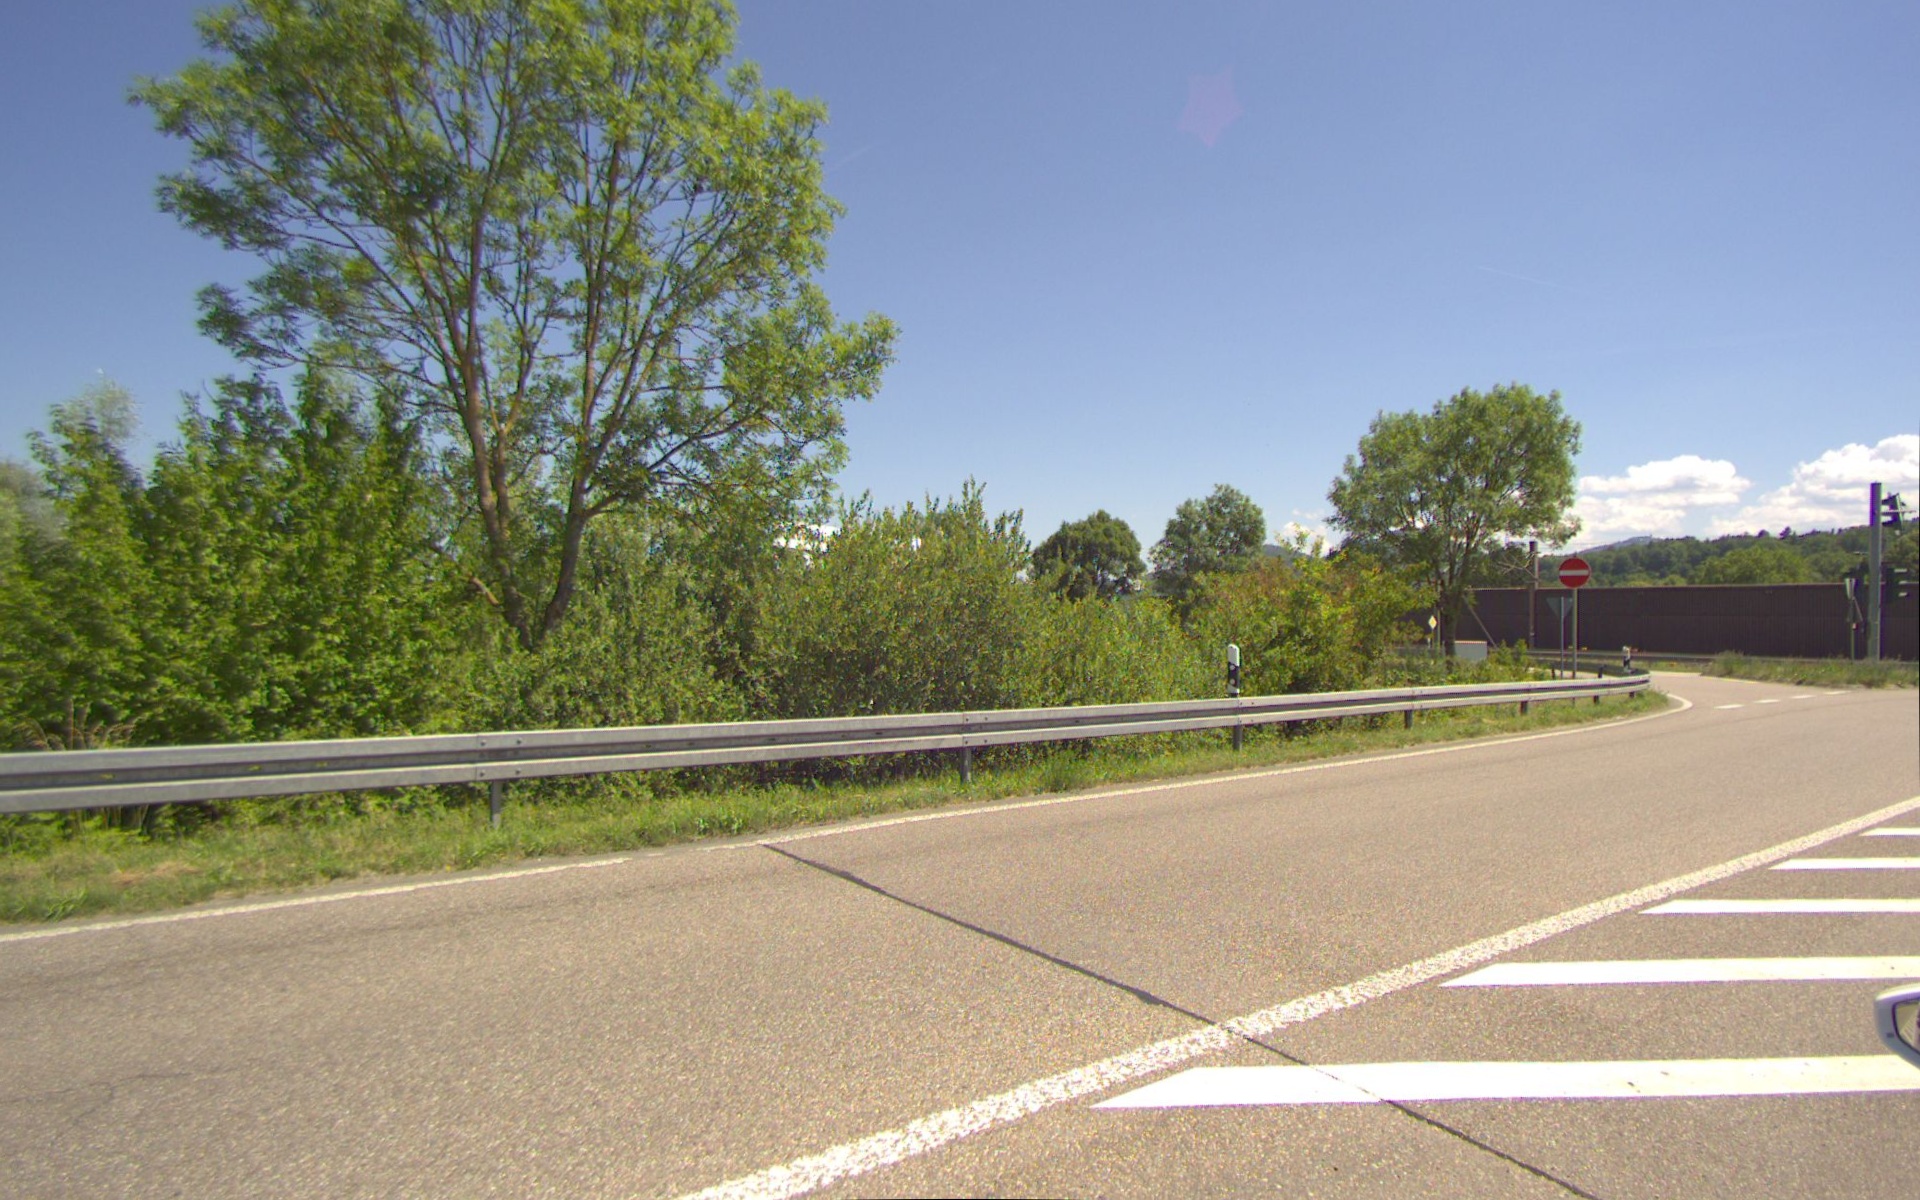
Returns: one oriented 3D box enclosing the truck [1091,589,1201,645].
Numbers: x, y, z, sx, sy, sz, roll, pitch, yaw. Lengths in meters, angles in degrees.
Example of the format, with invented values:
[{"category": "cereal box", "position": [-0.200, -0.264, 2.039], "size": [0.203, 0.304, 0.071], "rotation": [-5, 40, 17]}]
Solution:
[{"category": "truck", "position": [12.393, 1.117, 67.975], "size": [2.100, 3.516, 9.029], "rotation": [2, -1, -28]}]
